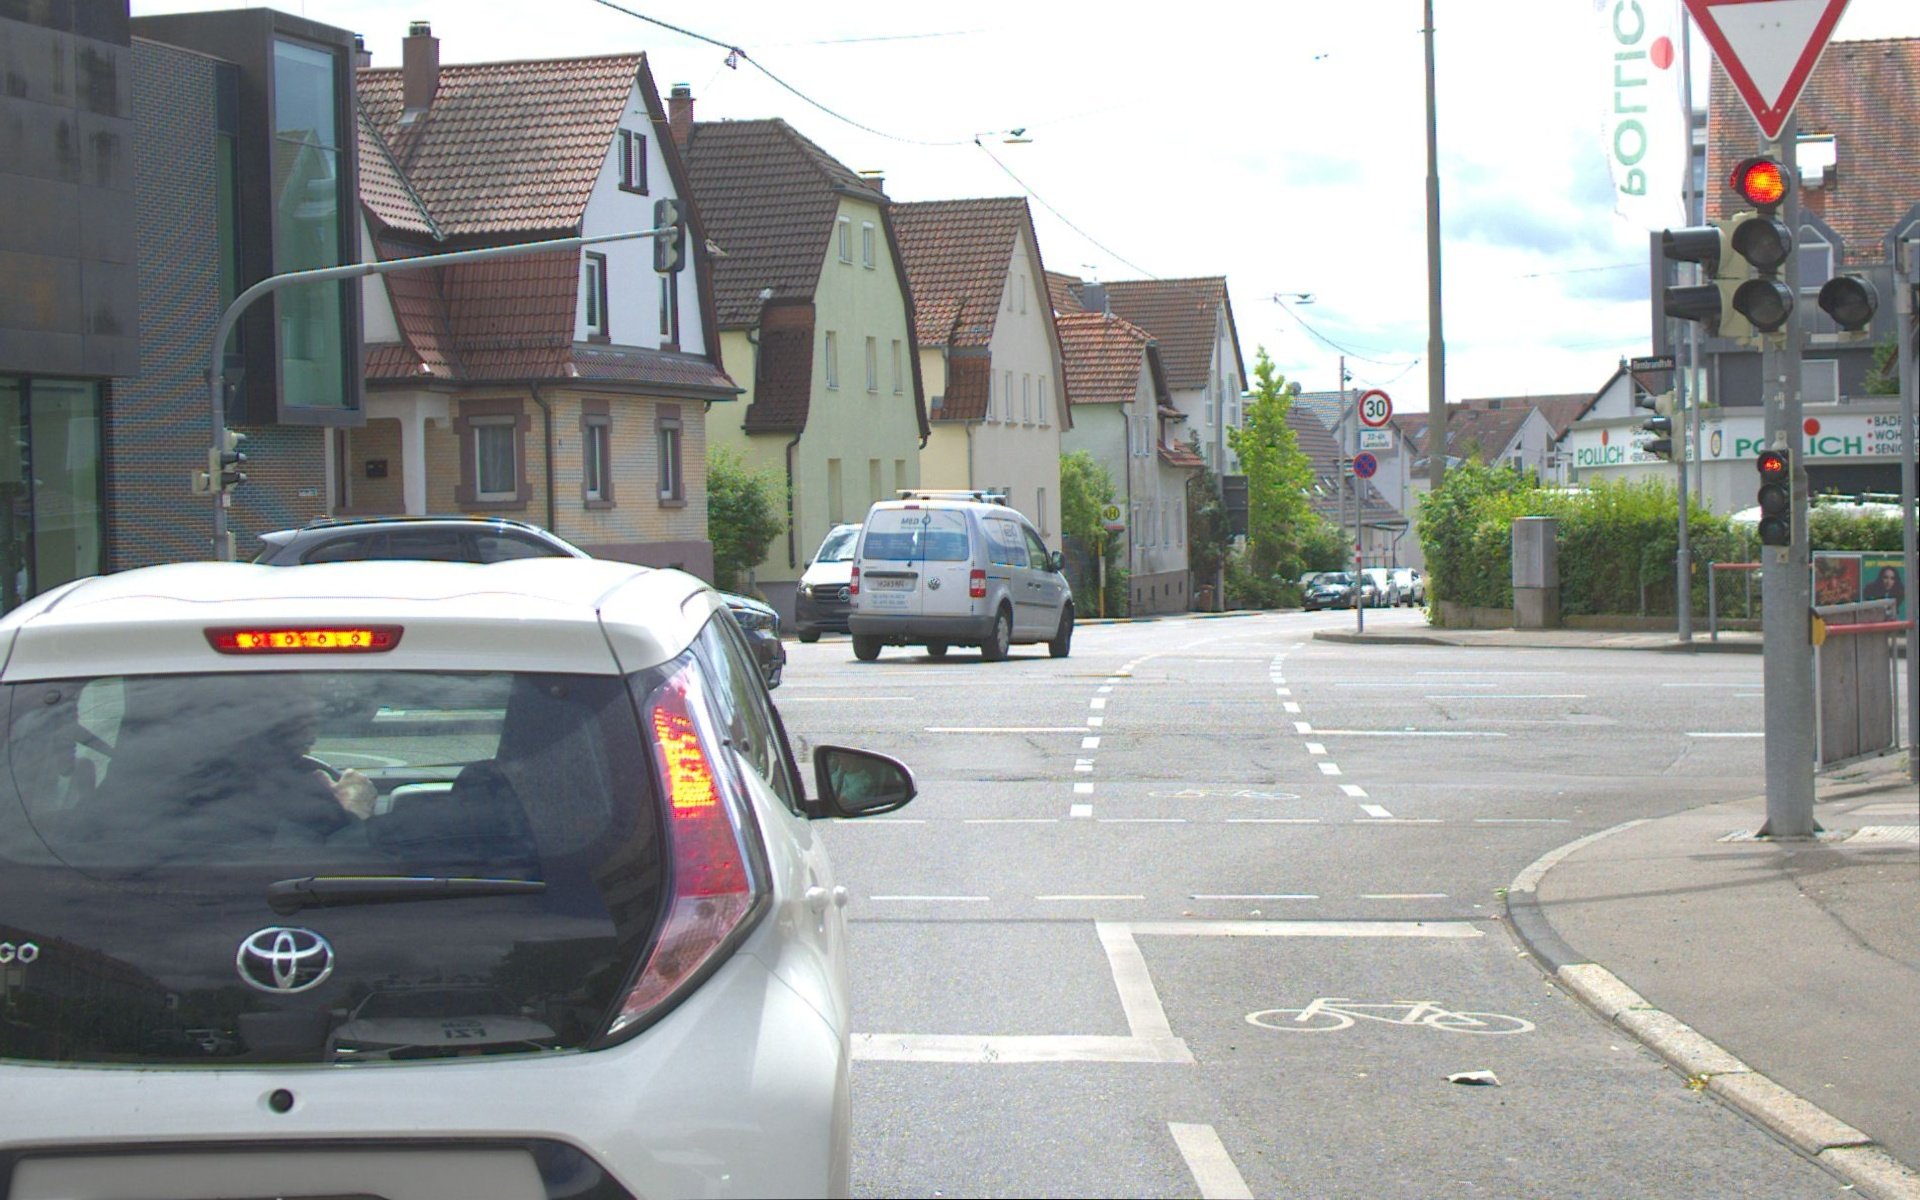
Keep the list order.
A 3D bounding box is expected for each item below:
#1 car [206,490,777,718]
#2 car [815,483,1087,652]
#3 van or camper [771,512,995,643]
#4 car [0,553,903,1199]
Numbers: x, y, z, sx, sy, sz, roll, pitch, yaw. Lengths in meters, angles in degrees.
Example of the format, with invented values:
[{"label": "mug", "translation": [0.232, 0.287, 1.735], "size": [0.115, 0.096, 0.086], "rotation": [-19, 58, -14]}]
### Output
[{"label": "car", "translation": [-3.716, -0.005, 27.127], "size": [4.291, 1.670, 2.001], "rotation": [-1, 1, -11]}, {"label": "car", "translation": [-0.041, -0.392, 40.070], "size": [1.995, 1.842, 4.069], "rotation": [1, 1, 18]}, {"label": "van or camper", "translation": [-1.125, -0.375, 53.640], "size": [2.117, 1.919, 5.282], "rotation": [1, 1, 15]}, {"label": "car", "translation": [-0.995, 0.651, 6.327], "size": [1.697, 1.451, 3.299], "rotation": [0, 1, -2]}]
